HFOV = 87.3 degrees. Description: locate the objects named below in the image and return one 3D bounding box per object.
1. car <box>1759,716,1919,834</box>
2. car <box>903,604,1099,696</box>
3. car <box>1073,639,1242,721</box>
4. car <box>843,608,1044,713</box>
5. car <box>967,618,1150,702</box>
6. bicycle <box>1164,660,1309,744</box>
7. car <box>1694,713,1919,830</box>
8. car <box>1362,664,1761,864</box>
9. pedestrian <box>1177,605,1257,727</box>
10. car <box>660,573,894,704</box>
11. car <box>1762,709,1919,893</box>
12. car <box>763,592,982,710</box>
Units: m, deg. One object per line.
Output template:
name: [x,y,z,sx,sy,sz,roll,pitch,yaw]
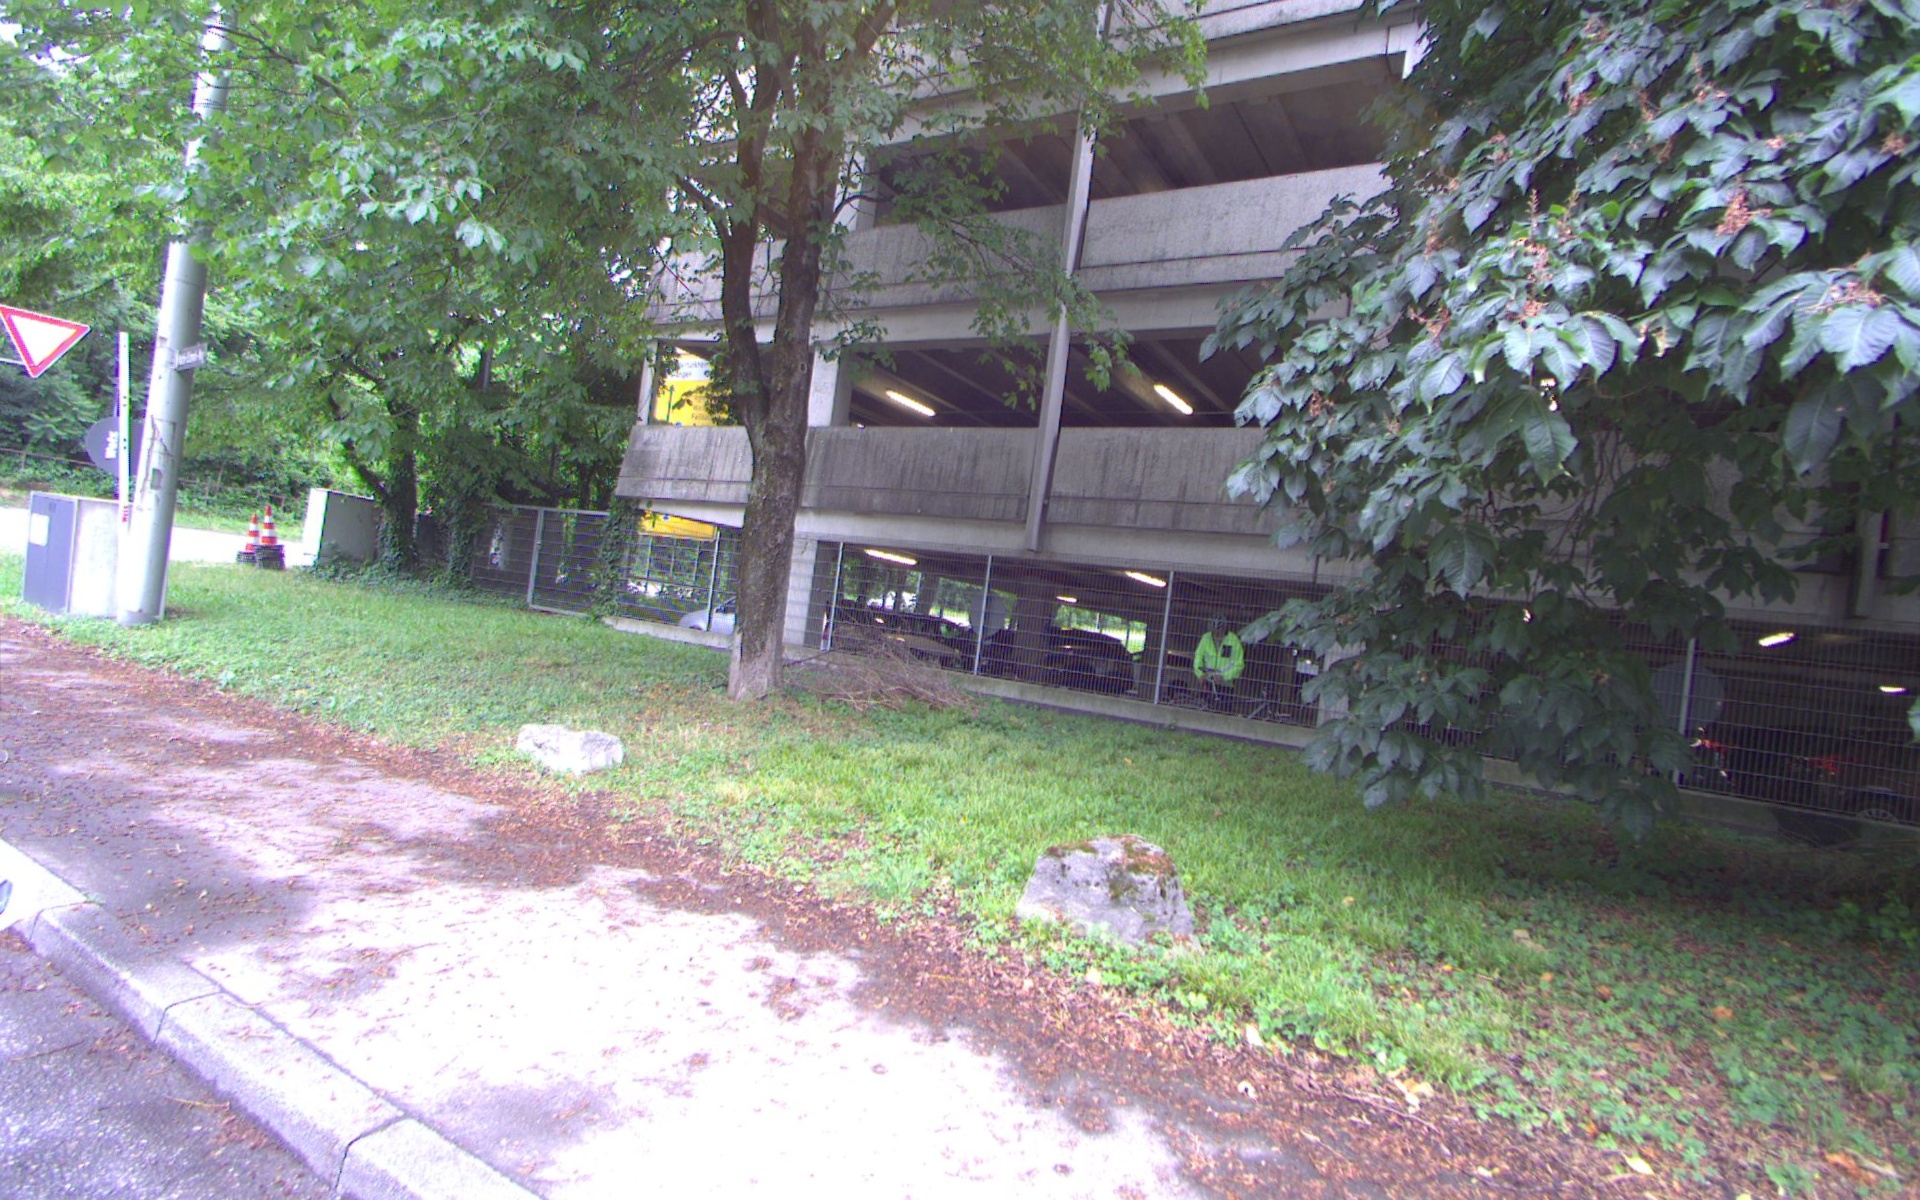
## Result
car: [15.674,2.979,16.542,3.640,1.625,1.721,5,-3,30]
car: [0.930,1.142,23.209,3.934,1.569,1.998,5,-3,32]
car: [6.147,2.483,31.544,4.658,1.855,1.923,6,-2,33]
car: [-0.368,1.246,20.873,3.658,1.682,1.734,5,-3,32]
car: [2.447,1.493,25.146,3.934,1.569,1.998,5,-3,32]
bicycle: [3.119,1.145,11.370,1.469,0.744,0.448,6,-2,24]
car: [16.204,3.197,18.871,3.640,1.625,1.721,5,-3,30]
car: [8.621,2.274,14.825,4.597,2.036,1.998,5,-3,31]
pedestrian: [3.005,0.776,11.741,0.626,1.332,0.642,6,-2,31]
car: [-3.109,0.623,16.892,3.658,1.727,1.484,5,-3,32]
car: [12.669,2.647,12.456,3.935,2.036,1.997,5,-3,33]
car: [-1.662,0.938,18.817,3.707,1.727,1.584,5,-3,32]
